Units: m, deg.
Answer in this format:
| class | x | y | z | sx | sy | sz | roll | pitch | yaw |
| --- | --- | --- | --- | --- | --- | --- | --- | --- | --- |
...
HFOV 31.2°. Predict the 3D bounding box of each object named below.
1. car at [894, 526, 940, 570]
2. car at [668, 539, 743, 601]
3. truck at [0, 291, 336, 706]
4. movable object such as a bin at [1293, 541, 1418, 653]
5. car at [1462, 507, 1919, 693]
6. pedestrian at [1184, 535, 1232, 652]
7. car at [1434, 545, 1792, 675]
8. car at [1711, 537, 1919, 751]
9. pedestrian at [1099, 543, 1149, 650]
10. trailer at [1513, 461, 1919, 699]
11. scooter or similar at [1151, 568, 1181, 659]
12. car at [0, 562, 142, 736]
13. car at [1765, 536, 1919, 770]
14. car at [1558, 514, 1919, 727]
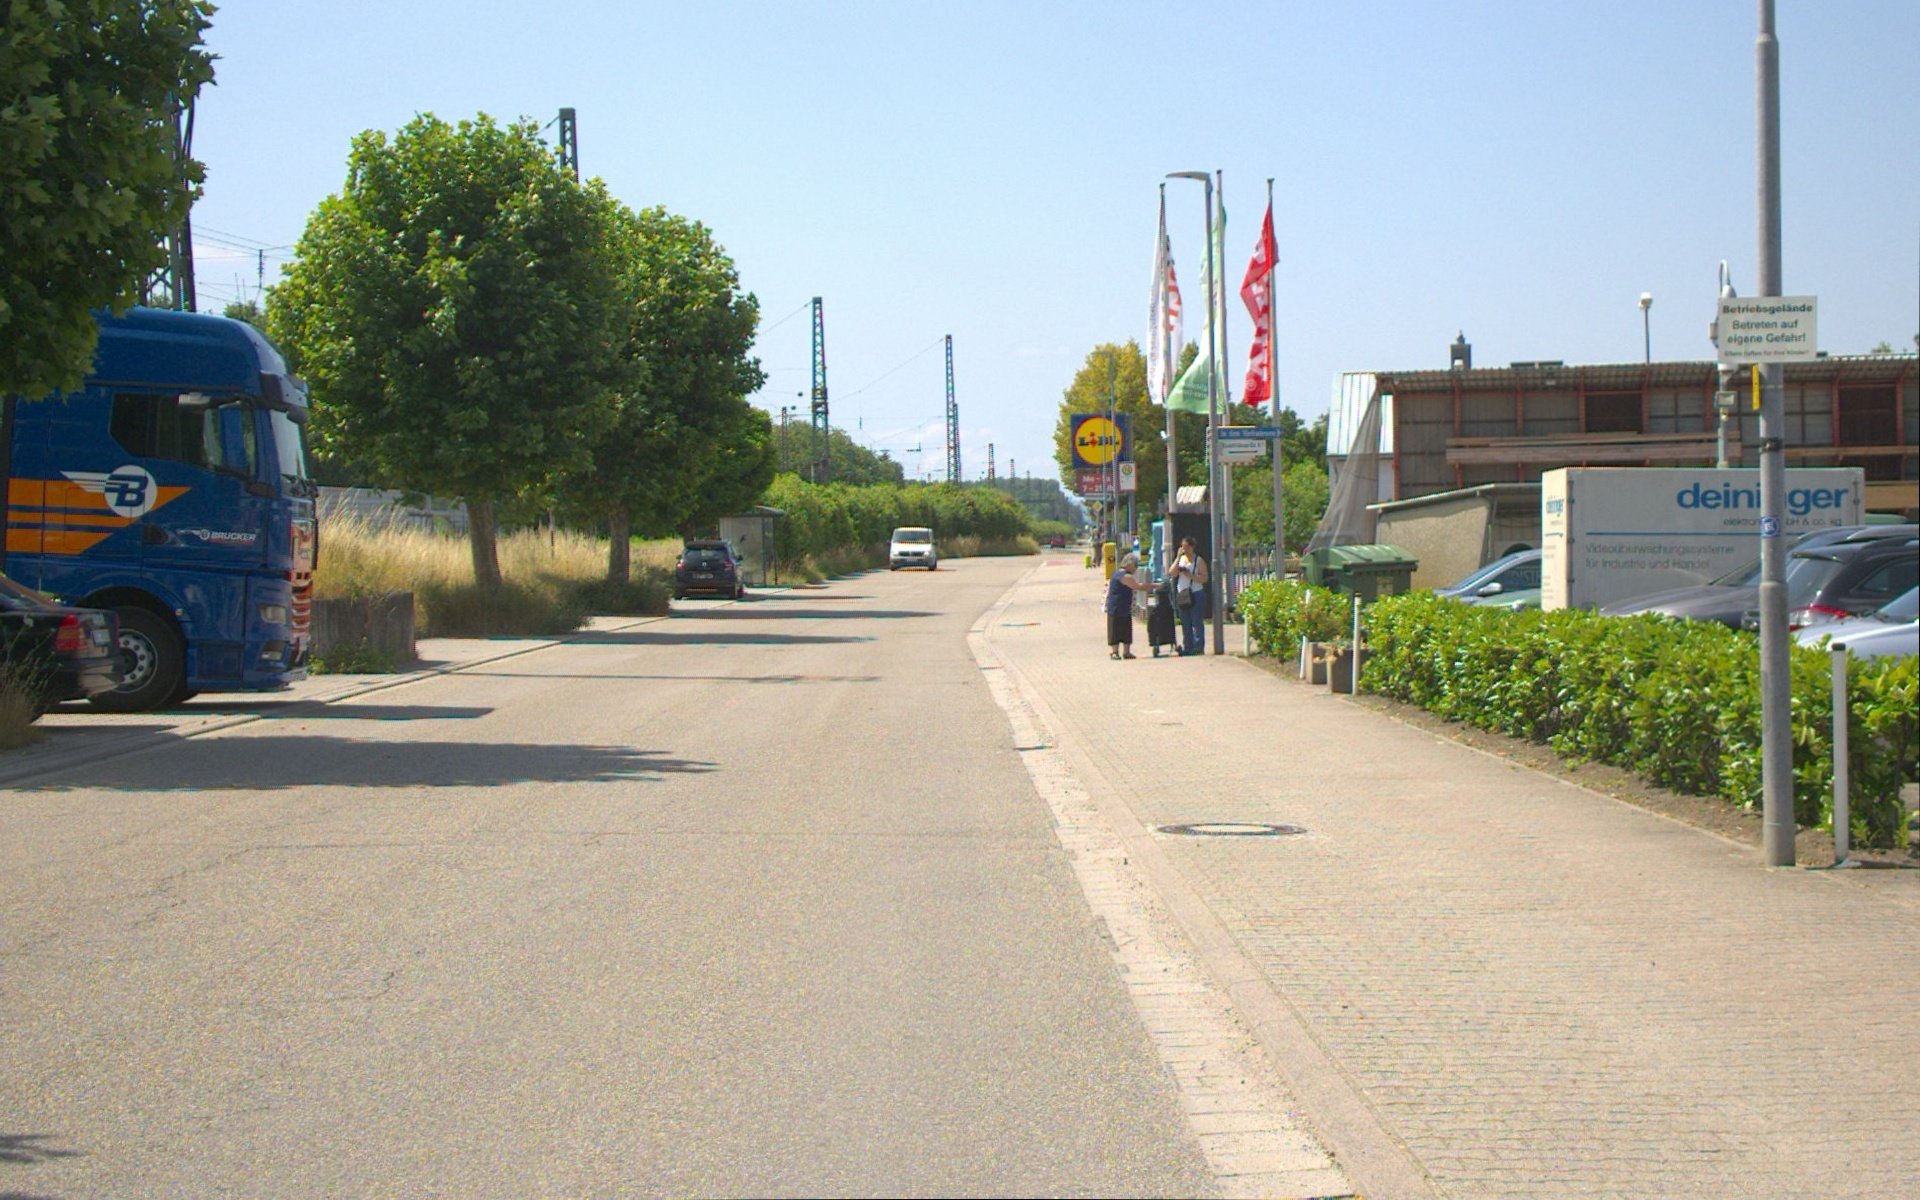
| class | x | y | z | sx | sy | sz | roll | pitch | yaw |
| --- | --- | --- | --- | --- | --- | --- | --- | --- | --- |
| car | -1.845 | -2.256 | 148.690 | 1.838 | 1.851 | 4.484 | -1 | 1 | 1 |
| car | -6.779 | -0.817 | 91.756 | 1.741 | 1.590 | 3.580 | -1 | 1 | 0 |
| truck | -9.532 | -0.939 | 32.968 | 6.613 | 3.810 | 2.664 | -1 | 1 | -2 |
| movable object such as a bin | 5.245 | -0.051 | 45.649 | 1.263 | 1.453 | 1.049 | 0 | 1 | -37 |
| car | 7.170 | 0.010 | 33.535 | 4.212 | 1.628 | 1.801 | -2 | -1 | -1 |
| pedestrian | 3.302 | -0.077 | 45.799 | 0.535 | 1.534 | 0.511 | -2 | -1 | -1 |
| car | 7.574 | 0.097 | 40.129 | 3.845 | 1.450 | 1.817 | 0 | 1 | 1 |
| car | 7.745 | 0.267 | 24.209 | 4.474 | 1.435 | 1.815 | -1 | 1 | -3 |
| pedestrian | 2.188 | -0.042 | 45.942 | 0.594 | 1.400 | 0.584 | -2 | -1 | -1 |
| trailer | 7.062 | -0.195 | 30.390 | 3.987 | 2.007 | 2.000 | -1 | 1 | -1 |
| scooter or similar | 2.752 | 0.182 | 45.963 | 0.334 | 1.194 | 0.398 | -2 | -1 | 1 |
| car | -9.133 | 0.401 | 28.645 | 4.208 | 1.390 | 1.872 | -1 | 1 | -2 |
| car | 6.951 | 0.275 | 21.698 | 3.353 | 1.397 | 1.769 | -2 | 1 | 3 |
| car | 7.012 | 0.141 | 27.515 | 4.033 | 1.569 | 1.714 | -2 | -1 | -5 |
